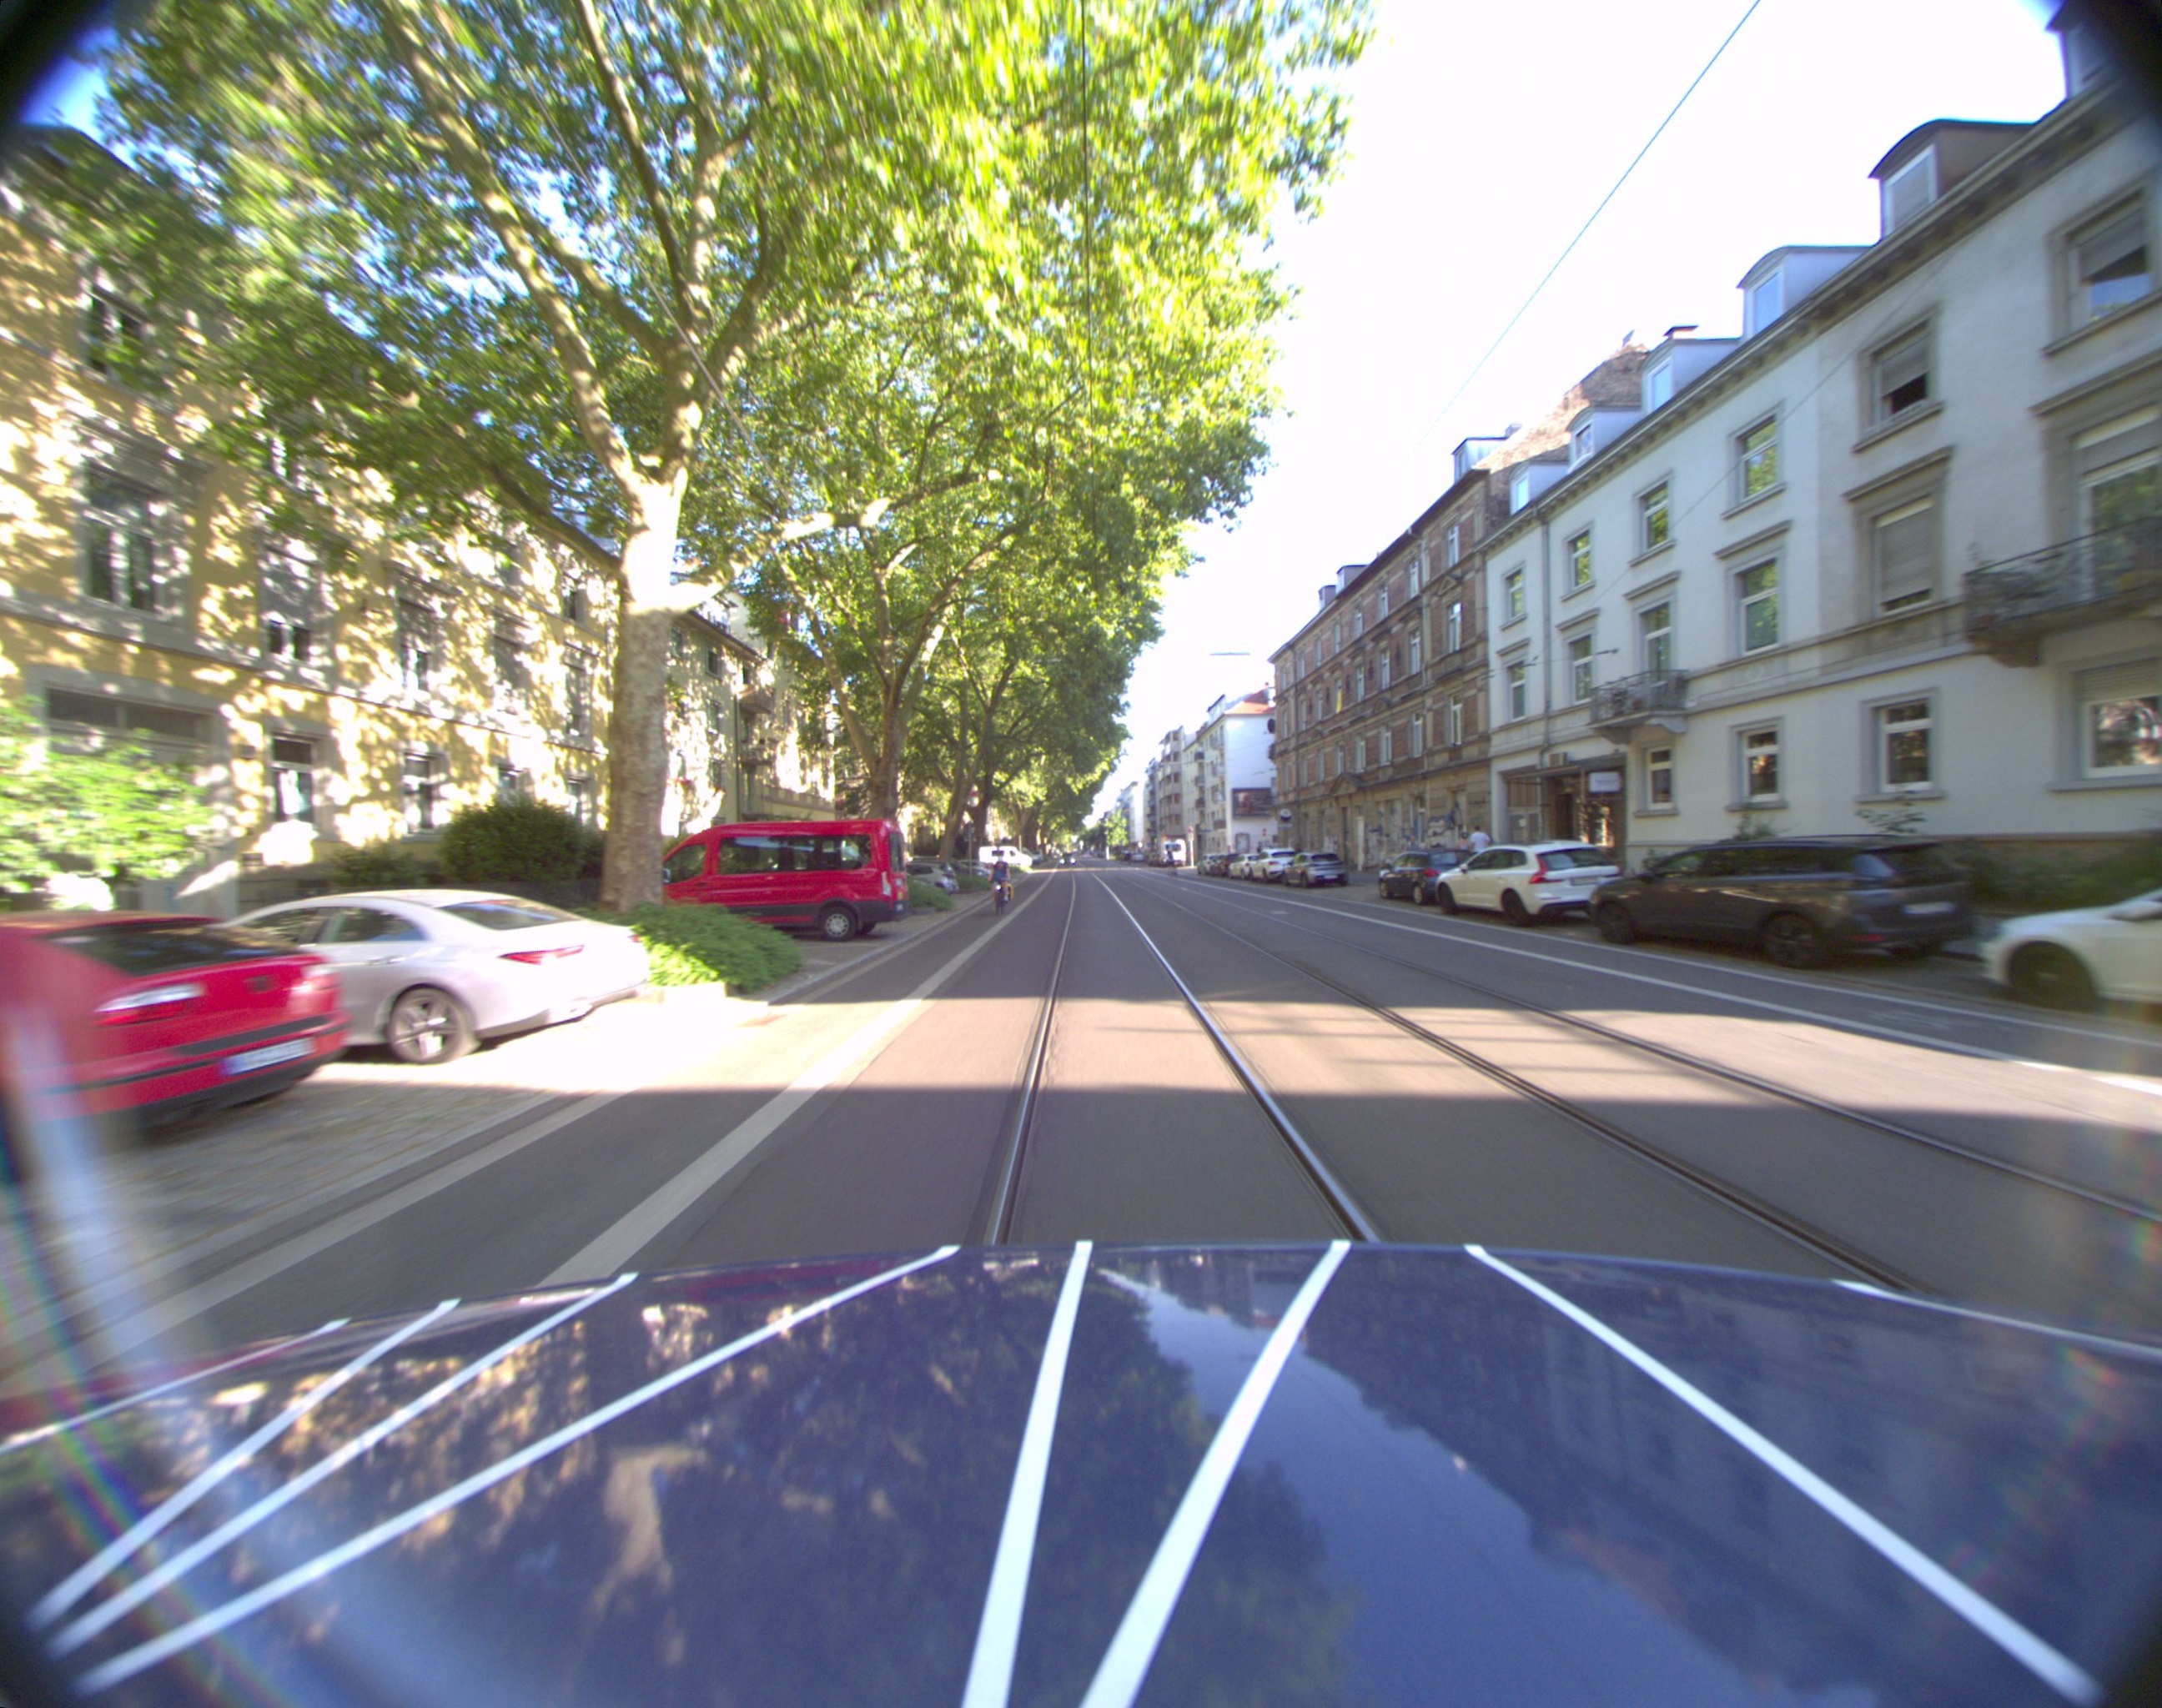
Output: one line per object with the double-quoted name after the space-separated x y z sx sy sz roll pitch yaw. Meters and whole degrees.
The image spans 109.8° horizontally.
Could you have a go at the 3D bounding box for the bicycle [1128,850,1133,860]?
6.294 0.144 96.208 0.422 1.144 2.231 -1 1 -2 "bicycle"

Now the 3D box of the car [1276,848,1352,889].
9.553 0.532 31.487 1.667 1.512 4.063 -3 1 -3 "car"

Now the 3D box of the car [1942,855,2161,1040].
9.939 0.801 5.865 1.691 1.468 4.257 -3 0 -1 "car"

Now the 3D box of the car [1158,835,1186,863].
8.712 -0.474 73.172 2.070 2.521 5.666 -2 1 1 "car"

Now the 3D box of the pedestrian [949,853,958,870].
-12.615 0.696 75.251 0.594 1.642 0.707 -3 2 -26 "pedestrian"

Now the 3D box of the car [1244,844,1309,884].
9.414 0.438 36.963 1.791 1.713 4.717 -3 1 -1 "car"

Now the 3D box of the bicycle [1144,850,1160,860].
8.874 0.143 95.117 1.972 1.113 0.425 -3 1 6 "bicycle"

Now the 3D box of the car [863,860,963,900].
-6.609 1.012 30.171 3.604 1.509 1.693 0 1 -1 "car"

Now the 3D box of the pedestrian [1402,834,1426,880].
12.357 0.096 28.227 0.663 1.656 0.770 -2 1 31 "pedestrian"

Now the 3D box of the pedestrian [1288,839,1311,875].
11.211 0.138 38.970 0.686 1.790 1.056 -3 1 -10 "pedestrian"

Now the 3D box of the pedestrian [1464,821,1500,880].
13.792 -0.124 26.159 0.761 2.002 0.829 -2 1 -3 "pedestrian"

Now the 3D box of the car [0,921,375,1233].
-6.861 1.180 4.413 3.763 1.379 1.680 0 1 -6 "car"

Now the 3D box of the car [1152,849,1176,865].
8.555 0.294 78.630 1.723 1.622 4.345 -2 1 -2 "car"

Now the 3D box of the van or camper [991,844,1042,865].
-7.999 0.046 94.591 6.049 2.476 2.107 -1 1 -2 "van or camper"

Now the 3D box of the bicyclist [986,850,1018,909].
-2.185 0.700 21.060 0.616 1.543 0.935 -6 1 -1 "bicyclist"

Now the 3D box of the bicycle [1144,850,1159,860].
8.913 0.129 96.144 1.935 1.113 0.440 -3 1 6 "bicycle"

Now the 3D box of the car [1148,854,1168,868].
8.499 0.746 84.067 1.722 1.448 4.571 -2 1 1 "car"

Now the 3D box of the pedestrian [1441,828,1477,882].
12.968 0.020 26.065 0.762 1.810 0.829 -2 1 -4 "pedestrian"

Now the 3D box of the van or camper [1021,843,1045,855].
-8.898 -0.899 141.321 4.389 2.098 1.837 -1 1 -4 "van or camper"

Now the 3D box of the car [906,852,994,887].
-6.763 0.808 39.530 4.274 1.709 1.848 1 1 -3 "car"

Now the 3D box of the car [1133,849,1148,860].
8.498 0.069 108.665 1.694 1.482 4.727 -2 1 0 "car"

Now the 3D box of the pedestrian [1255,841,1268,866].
13.174 -0.021 55.411 0.658 1.738 0.893 -3 0 3 "pedestrian"

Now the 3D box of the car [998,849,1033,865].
-7.631 0.327 88.415 3.966 1.646 1.795 -1 1 -4 "car"

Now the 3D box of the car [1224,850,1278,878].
9.355 0.510 42.106 1.704 1.412 3.998 -3 1 -5 "car"

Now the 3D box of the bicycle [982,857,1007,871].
-7.645 0.871 67.131 2.046 1.172 0.413 -2 2 8 "bicycle"

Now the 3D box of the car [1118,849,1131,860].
7.139 0.048 124.578 1.660 1.591 4.201 -3 1 -2 "car"

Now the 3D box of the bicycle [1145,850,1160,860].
8.843 0.159 93.930 1.793 1.113 0.425 -3 1 6 "bicycle"

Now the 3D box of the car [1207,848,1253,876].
9.236 0.458 47.459 1.745 1.553 4.785 -3 1 -2 "car"

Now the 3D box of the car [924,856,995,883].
-7.109 0.916 44.939 4.040 1.471 1.680 -1 1 -6 "car"

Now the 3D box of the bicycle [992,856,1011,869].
-7.380 0.778 70.529 2.043 1.172 0.414 -1 2 36 "bicycle"

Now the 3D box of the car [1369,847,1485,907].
9.622 0.573 21.458 1.558 1.506 3.924 -1 0 2 "car"

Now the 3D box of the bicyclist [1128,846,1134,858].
6.343 -0.269 96.277 0.584 1.473 0.807 -1 1 -1 "bicyclist"

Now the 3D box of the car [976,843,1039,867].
-7.312 0.100 76.096 6.006 2.269 2.006 -1 0 1 "car"

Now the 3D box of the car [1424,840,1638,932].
9.498 0.583 16.605 1.861 1.694 4.762 -1 0 0 "car"

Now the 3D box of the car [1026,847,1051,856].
-7.265 -0.405 130.051 4.206 1.473 1.911 -1 1 0 "car"

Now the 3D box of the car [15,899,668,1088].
-6.436 1.174 6.986 4.296 1.409 1.760 0 0 1 "car"

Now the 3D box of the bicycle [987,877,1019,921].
-2.172 1.227 21.322 0.596 0.998 2.510 -4 1 -1 "bicycle"

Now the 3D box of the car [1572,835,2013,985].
9.804 0.634 11.159 1.862 1.694 4.656 -1 0 -6 "car"

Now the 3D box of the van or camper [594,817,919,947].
-6.542 0.565 15.958 5.831 2.504 2.287 0 0 -3 "van or camper"

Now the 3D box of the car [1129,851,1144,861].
8.284 0.295 113.628 1.798 1.482 4.239 -2 1 -2 "car"

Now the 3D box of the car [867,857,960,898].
-7.153 0.991 32.724 3.604 1.590 1.540 -1 2 0 "car"

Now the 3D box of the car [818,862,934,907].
-7.232 1.073 27.091 3.680 1.514 1.694 -1 -1 -1 "car"

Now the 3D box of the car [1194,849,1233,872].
9.138 0.423 52.681 1.745 1.483 4.044 -3 1 -2 "car"

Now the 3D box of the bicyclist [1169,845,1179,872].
5.792 0.263 47.298 0.474 1.626 0.800 -1 1 0 "bicyclist"

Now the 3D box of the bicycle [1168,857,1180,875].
5.797 0.724 47.427 0.482 1.079 1.846 -1 1 0 "bicycle"
